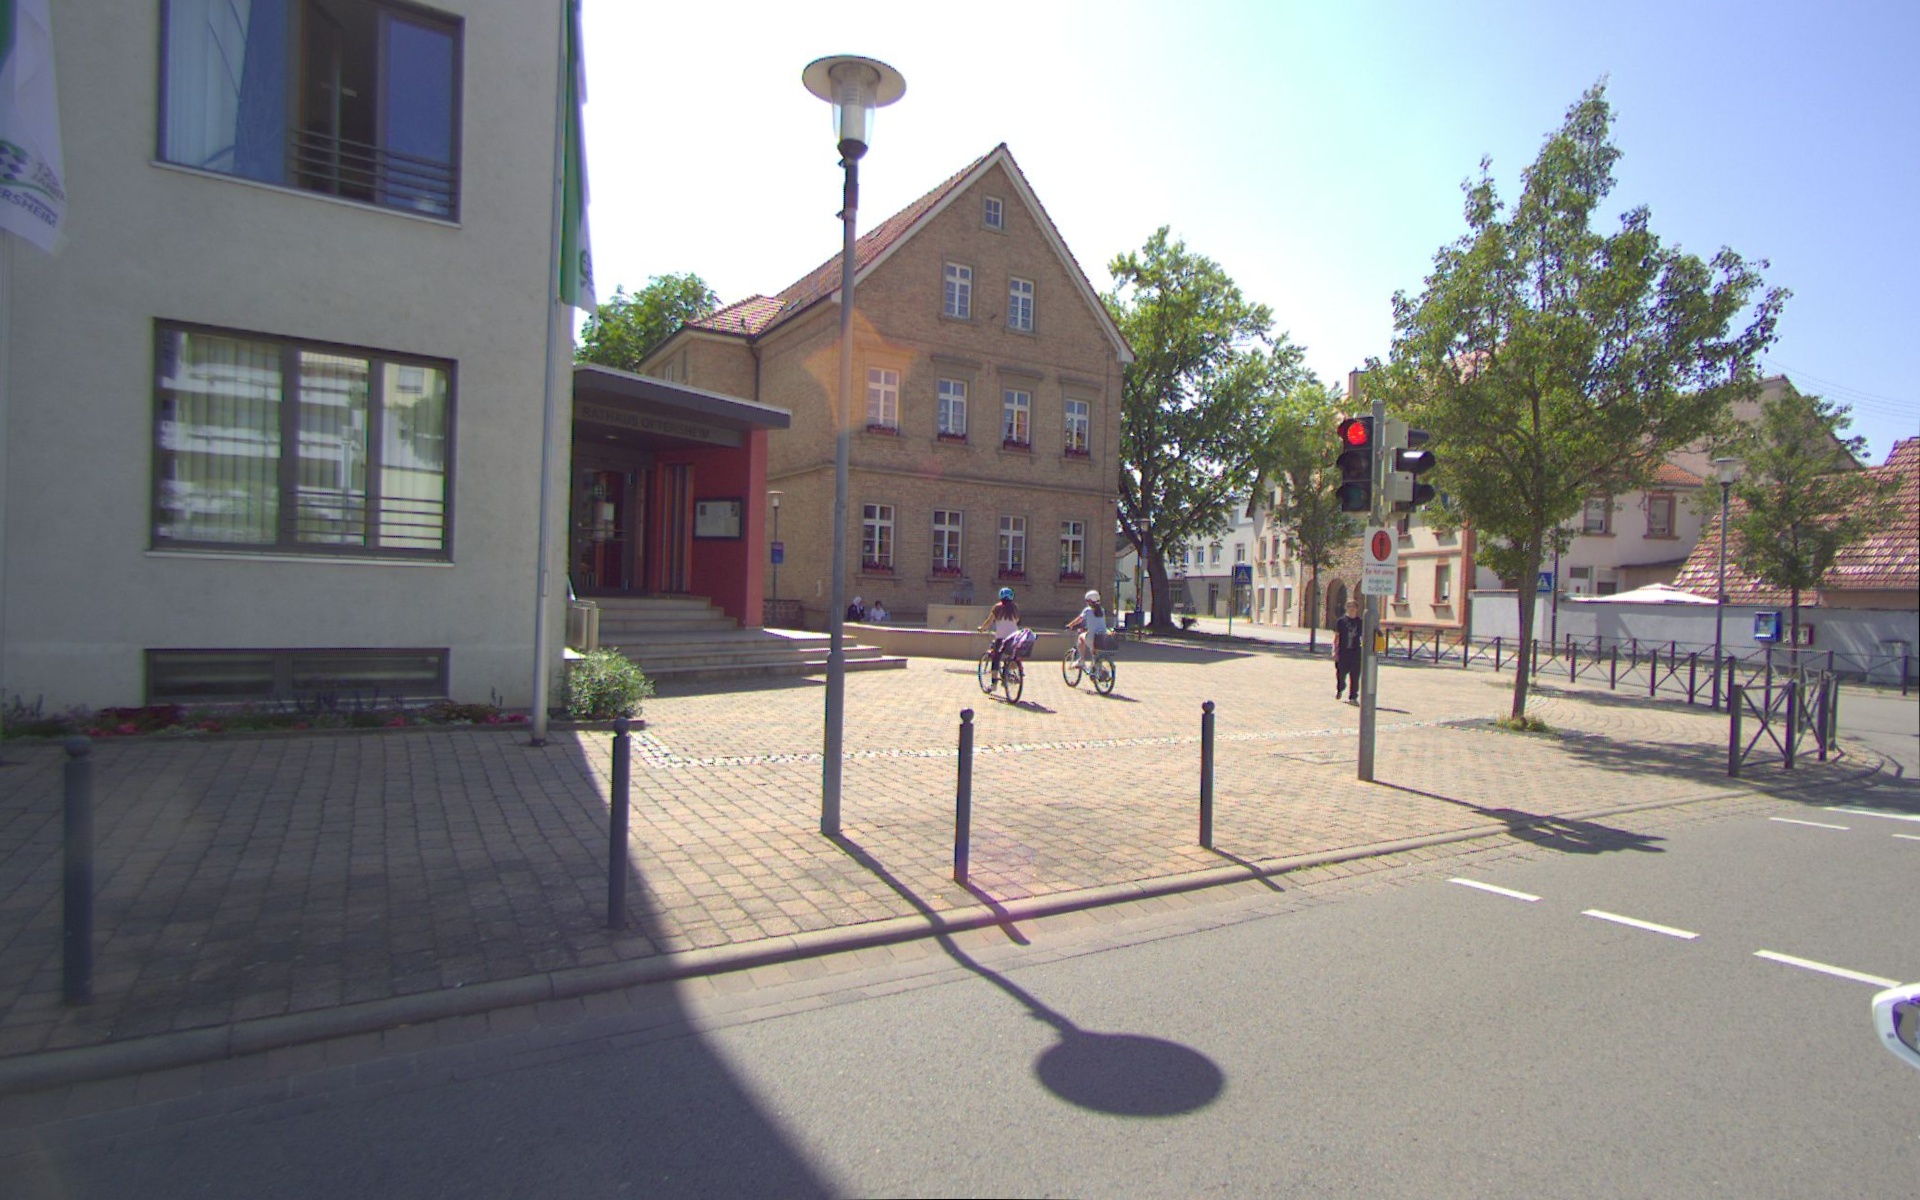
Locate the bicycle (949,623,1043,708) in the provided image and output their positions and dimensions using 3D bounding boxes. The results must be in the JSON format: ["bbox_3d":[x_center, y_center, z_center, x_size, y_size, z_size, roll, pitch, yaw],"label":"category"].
[{"bbox_3d":[0.453,0.867,13.806,0.665,0.970,1.888,3,1,-17],"label":"bicycle"}]

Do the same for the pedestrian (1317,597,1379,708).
[{"bbox_3d":[6.190,0.810,16.071,0.798,1.676,0.851,3,1,19],"label":"pedestrian"}]

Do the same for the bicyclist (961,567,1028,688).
[{"bbox_3d":[0.468,0.369,13.789,0.660,1.603,0.759,2,0,-17],"label":"bicyclist"}]

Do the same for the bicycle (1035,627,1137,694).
[{"bbox_3d":[1.931,0.917,15.673,0.667,0.970,1.884,1,-1,-25],"label":"bicycle"}]

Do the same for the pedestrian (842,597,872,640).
[{"bbox_3d":[-2.915,0.525,28.445,0.611,1.186,0.636,2,0,-29],"label":"pedestrian"}]

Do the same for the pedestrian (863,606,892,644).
[{"bbox_3d":[-2.366,0.709,28.851,0.611,1.041,0.636,2,0,-29],"label":"pedestrian"}]

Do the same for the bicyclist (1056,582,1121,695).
[{"bbox_3d":[1.980,0.589,15.538,0.663,1.686,0.756,1,-1,-29],"label":"bicyclist"}]
